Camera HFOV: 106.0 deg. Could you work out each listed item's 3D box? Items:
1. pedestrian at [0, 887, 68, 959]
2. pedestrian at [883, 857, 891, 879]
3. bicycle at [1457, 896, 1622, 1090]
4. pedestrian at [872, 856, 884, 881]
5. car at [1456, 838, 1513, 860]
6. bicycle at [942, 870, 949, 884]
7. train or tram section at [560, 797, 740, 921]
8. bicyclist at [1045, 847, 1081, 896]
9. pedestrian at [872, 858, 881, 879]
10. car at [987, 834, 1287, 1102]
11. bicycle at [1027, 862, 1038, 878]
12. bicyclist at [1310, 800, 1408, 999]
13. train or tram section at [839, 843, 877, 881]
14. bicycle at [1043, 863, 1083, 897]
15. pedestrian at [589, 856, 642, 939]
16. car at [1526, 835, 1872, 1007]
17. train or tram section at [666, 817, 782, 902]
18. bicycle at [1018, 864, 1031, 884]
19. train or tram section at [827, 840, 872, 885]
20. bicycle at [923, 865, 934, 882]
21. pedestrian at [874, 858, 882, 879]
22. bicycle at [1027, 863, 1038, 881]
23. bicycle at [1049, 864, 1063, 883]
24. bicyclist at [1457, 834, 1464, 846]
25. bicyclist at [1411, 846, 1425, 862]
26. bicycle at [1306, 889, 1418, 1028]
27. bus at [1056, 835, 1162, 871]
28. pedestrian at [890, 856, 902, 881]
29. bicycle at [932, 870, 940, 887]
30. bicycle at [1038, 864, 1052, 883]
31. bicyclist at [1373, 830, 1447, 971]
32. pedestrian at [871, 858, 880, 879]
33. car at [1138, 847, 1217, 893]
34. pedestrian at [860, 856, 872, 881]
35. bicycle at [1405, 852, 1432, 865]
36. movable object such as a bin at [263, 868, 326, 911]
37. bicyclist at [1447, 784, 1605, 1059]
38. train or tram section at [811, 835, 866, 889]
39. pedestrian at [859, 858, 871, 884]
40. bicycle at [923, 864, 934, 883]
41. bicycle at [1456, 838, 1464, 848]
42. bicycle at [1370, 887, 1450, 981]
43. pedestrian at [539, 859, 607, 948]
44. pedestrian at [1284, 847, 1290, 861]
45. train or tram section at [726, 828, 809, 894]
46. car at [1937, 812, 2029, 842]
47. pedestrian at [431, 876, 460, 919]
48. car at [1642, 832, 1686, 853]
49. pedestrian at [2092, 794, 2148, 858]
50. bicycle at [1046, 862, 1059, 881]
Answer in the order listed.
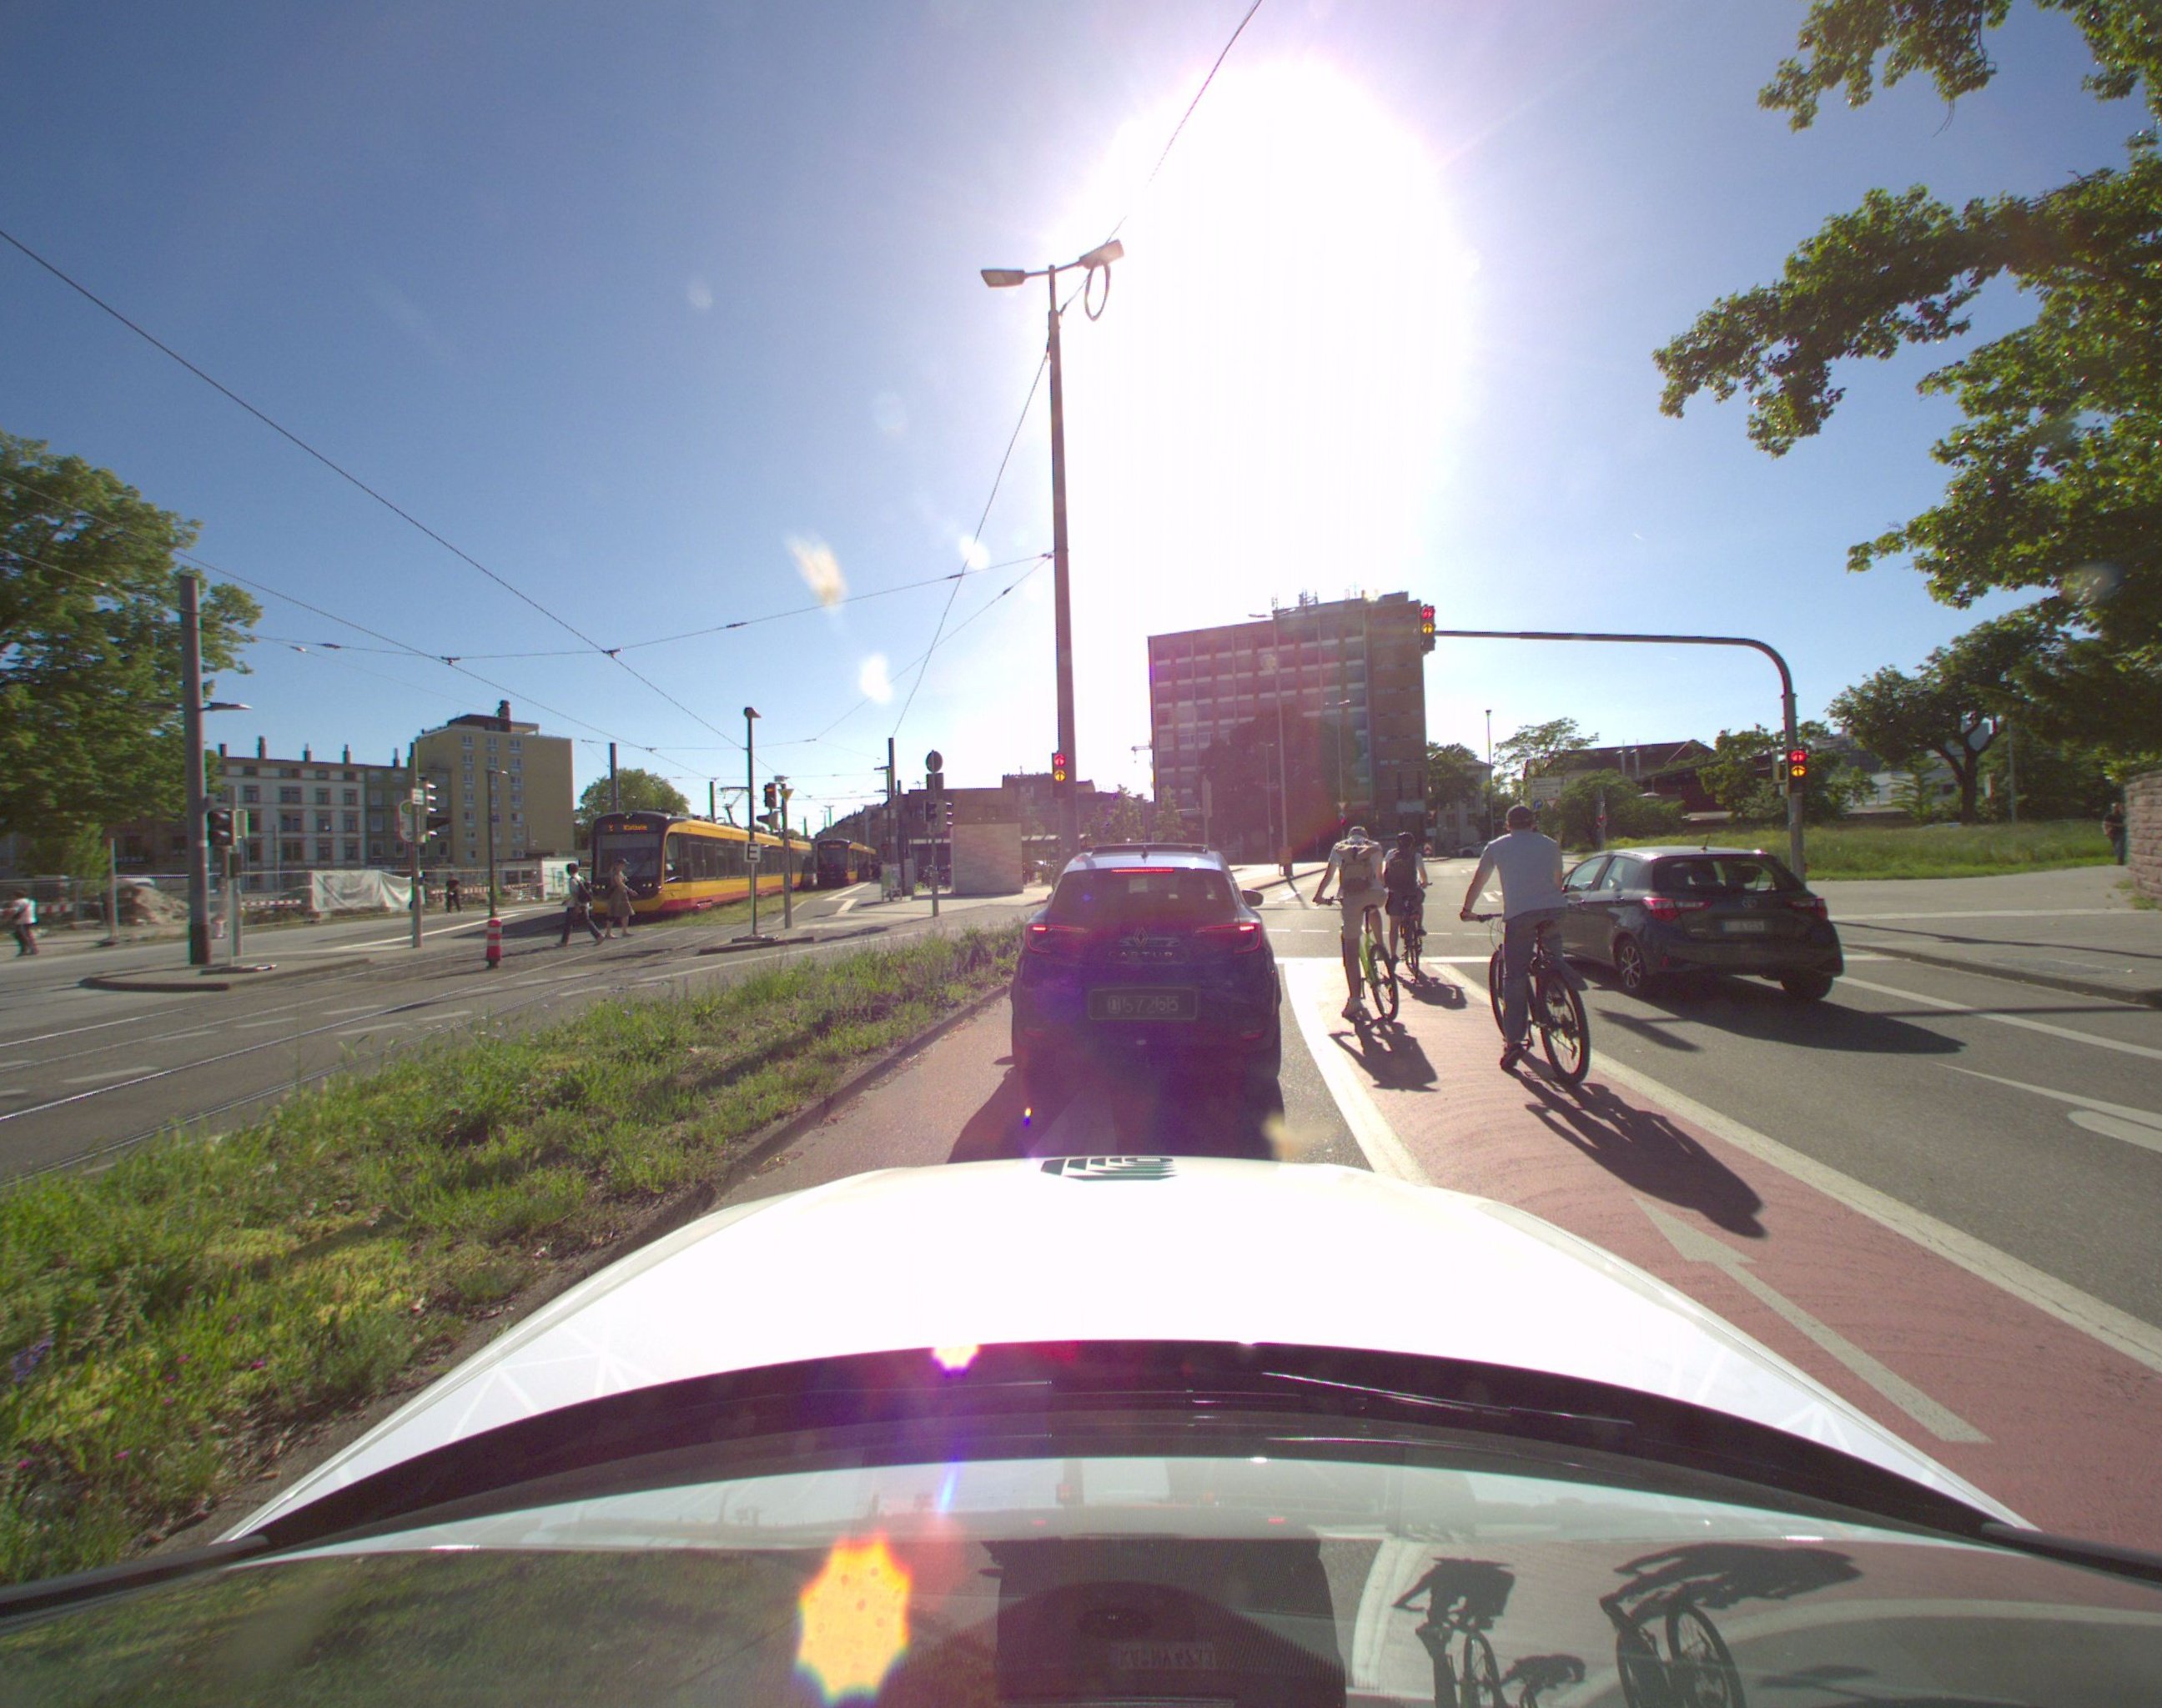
[{"bbox_3d":[-27.394,1.787,21.155,0.969,1.767,0.863,-2,0,-6],"label":"pedestrian"},{"bbox_3d":[-17.060,1.223,71.744,0.632,1.857,0.700,-1,-2,-9],"label":"pedestrian"},{"bbox_3d":[3.222,0.897,5.897,0.606,1.077,1.837,-2,0,16],"label":"bicycle"},{"bbox_3d":[-15.391,1.077,61.859,0.848,1.883,0.757,-1,-2,-14],"label":"pedestrian"},{"bbox_3d":[35.593,-0.438,71.906,4.204,1.569,1.831,-4,-4,16],"label":"car"},{"bbox_3d":[-8.809,1.488,53.007,0.421,0.938,1.374,0,-1,-9],"label":"bicycle"},{"bbox_3d":[-14.690,0.174,28.869,2.820,3.508,10.433,-2,0,-12],"label":"train or tram section"},{"bbox_3d":[-0.623,0.597,28.215,0.873,1.644,1.065,-3,-1,16],"label":"bicyclist"},{"bbox_3d":[-18.456,1.286,73.375,0.700,1.857,0.632,-1,-2,-10],"label":"pedestrian"},{"bbox_3d":[0.568,0.686,6.788,1.813,1.600,3.666,-1,0,8],"label":"car"},{"bbox_3d":[-3.353,1.143,56.398,0.580,1.088,1.865,-1,-1,-9],"label":"bicycle"},{"bbox_3d":[2.596,0.407,7.702,0.660,1.747,1.008,-2,0,9],"label":"bicyclist"},{"bbox_3d":[-21.863,0.779,80.259,2.873,3.508,10.499,-1,0,-12],"label":"train or tram section"},{"bbox_3d":[-0.594,0.891,28.205,0.767,1.080,2.044,-3,-1,16],"label":"bicycle"},{"bbox_3d":[-10.959,1.004,19.203,0.902,1.850,0.759,-2,2,-20],"label":"pedestrian"},{"bbox_3d":[6.613,0.607,9.266,1.744,1.541,3.671,-1,0,12],"label":"car"},{"bbox_3d":[-16.814,0.275,39.215,2.818,3.508,10.569,-1,0,-11],"label":"train or tram section"},{"bbox_3d":[-2.964,1.053,42.871,0.580,1.058,1.812,-1,-1,-7],"label":"bicycle"},{"bbox_3d":[-19.746,0.694,69.958,2.873,3.508,10.499,-1,0,-12],"label":"train or tram section"},{"bbox_3d":[-9.851,1.274,52.600,0.565,1.093,2.023,-1,-1,-9],"label":"bicycle"},{"bbox_3d":[-17.744,1.271,71.156,0.634,1.857,0.699,0,-2,-17],"label":"pedestrian"},{"bbox_3d":[-2.921,1.081,48.909,0.580,1.088,2.053,-1,-1,-7],"label":"bicycle"},{"bbox_3d":[-1.321,1.034,43.295,0.580,0.961,2.053,-1,-1,-7],"label":"bicycle"},{"bbox_3d":[44.786,-1.647,96.156,0.612,1.444,0.824,-2,0,32],"label":"bicyclist"},{"bbox_3d":[39.117,0.048,94.481,1.157,1.797,0.881,-1,-2,-11],"label":"bicyclist"},{"bbox_3d":[2.609,0.917,7.753,0.659,1.047,1.895,-2,1,9],"label":"bicycle"},{"bbox_3d":[2.752,0.023,86.803,12.287,3.396,2.900,-2,-2,42],"label":"bus"},{"bbox_3d":[-14.304,1.117,63.014,0.848,1.883,0.757,-1,-2,-14],"label":"pedestrian"},{"bbox_3d":[-8.533,1.441,47.974,0.422,0.938,1.300,0,-1,-13],"label":"bicycle"},{"bbox_3d":[-1.935,1.043,43.222,0.580,0.961,2.053,-1,-1,-7],"label":"bicycle"},{"bbox_3d":[3.997,0.536,9.971,0.716,1.626,1.059,-1,0,16],"label":"bicyclist"},{"bbox_3d":[-18.250,1.257,72.306,0.631,1.857,0.701,-1,-2,-7],"label":"pedestrian"},{"bbox_3d":[3.659,0.548,30.158,1.784,1.393,4.116,-2,2,23],"label":"car"},{"bbox_3d":[-16.296,1.110,61.700,0.793,1.857,0.603,-1,-2,-14],"label":"pedestrian"},{"bbox_3d":[39.122,0.528,94.476,2.803,1.541,0.881,-1,-2,-11],"label":"bicycle"},{"bbox_3d":[-53.460,2.388,55.363,3.950,2.796,1.844,-2,-2,26],"label":"movable object such as a bin"},{"bbox_3d":[3.136,0.442,5.849,0.744,1.776,1.018,-2,-1,16],"label":"bicyclist"},{"bbox_3d":[-17.594,0.588,59.718,2.873,3.508,10.499,-1,0,-12],"label":"train or tram section"},{"bbox_3d":[-16.172,1.279,60.970,0.848,1.883,0.757,-1,-2,-14],"label":"pedestrian"},{"bbox_3d":[-8.664,1.105,46.260,0.565,1.093,2.023,-1,-1,-9],"label":"bicycle"},{"bbox_3d":[44.827,-1.270,96.195,0.603,1.093,1.682,-3,0,32],"label":"bicycle"},{"bbox_3d":[4.015,0.929,10.058,0.717,0.960,1.892,-1,0,16],"label":"bicycle"},{"bbox_3d":[-10.955,1.041,17.602,1.017,1.832,0.757,-2,-1,-14],"label":"pedestrian"},{"bbox_3d":[25.097,0.011,99.145,0.555,1.670,0.479,-2,-2,39],"label":"pedestrian"},{"bbox_3d":[-18.862,0.433,49.764,2.818,3.508,11.166,-1,0,-11],"label":"train or tram section"},{"bbox_3d":[69.328,-2.054,62.690,4.305,2.014,2.013,-2,-2,33],"label":"car"},{"bbox_3d":[-27.207,1.843,34.864,0.668,1.767,0.796,-2,0,-13],"label":"pedestrian"},{"bbox_3d":[55.158,-1.079,77.055,3.873,1.935,1.889,0,-2,-30],"label":"car"},{"bbox_3d":[30.756,-0.821,24.107,1.052,1.832,0.754,-2,-1,-27],"label":"pedestrian"},{"bbox_3d":[-1.714,1.060,48.952,0.580,1.088,2.053,-1,-1,-7],"label":"bicycle"}]
